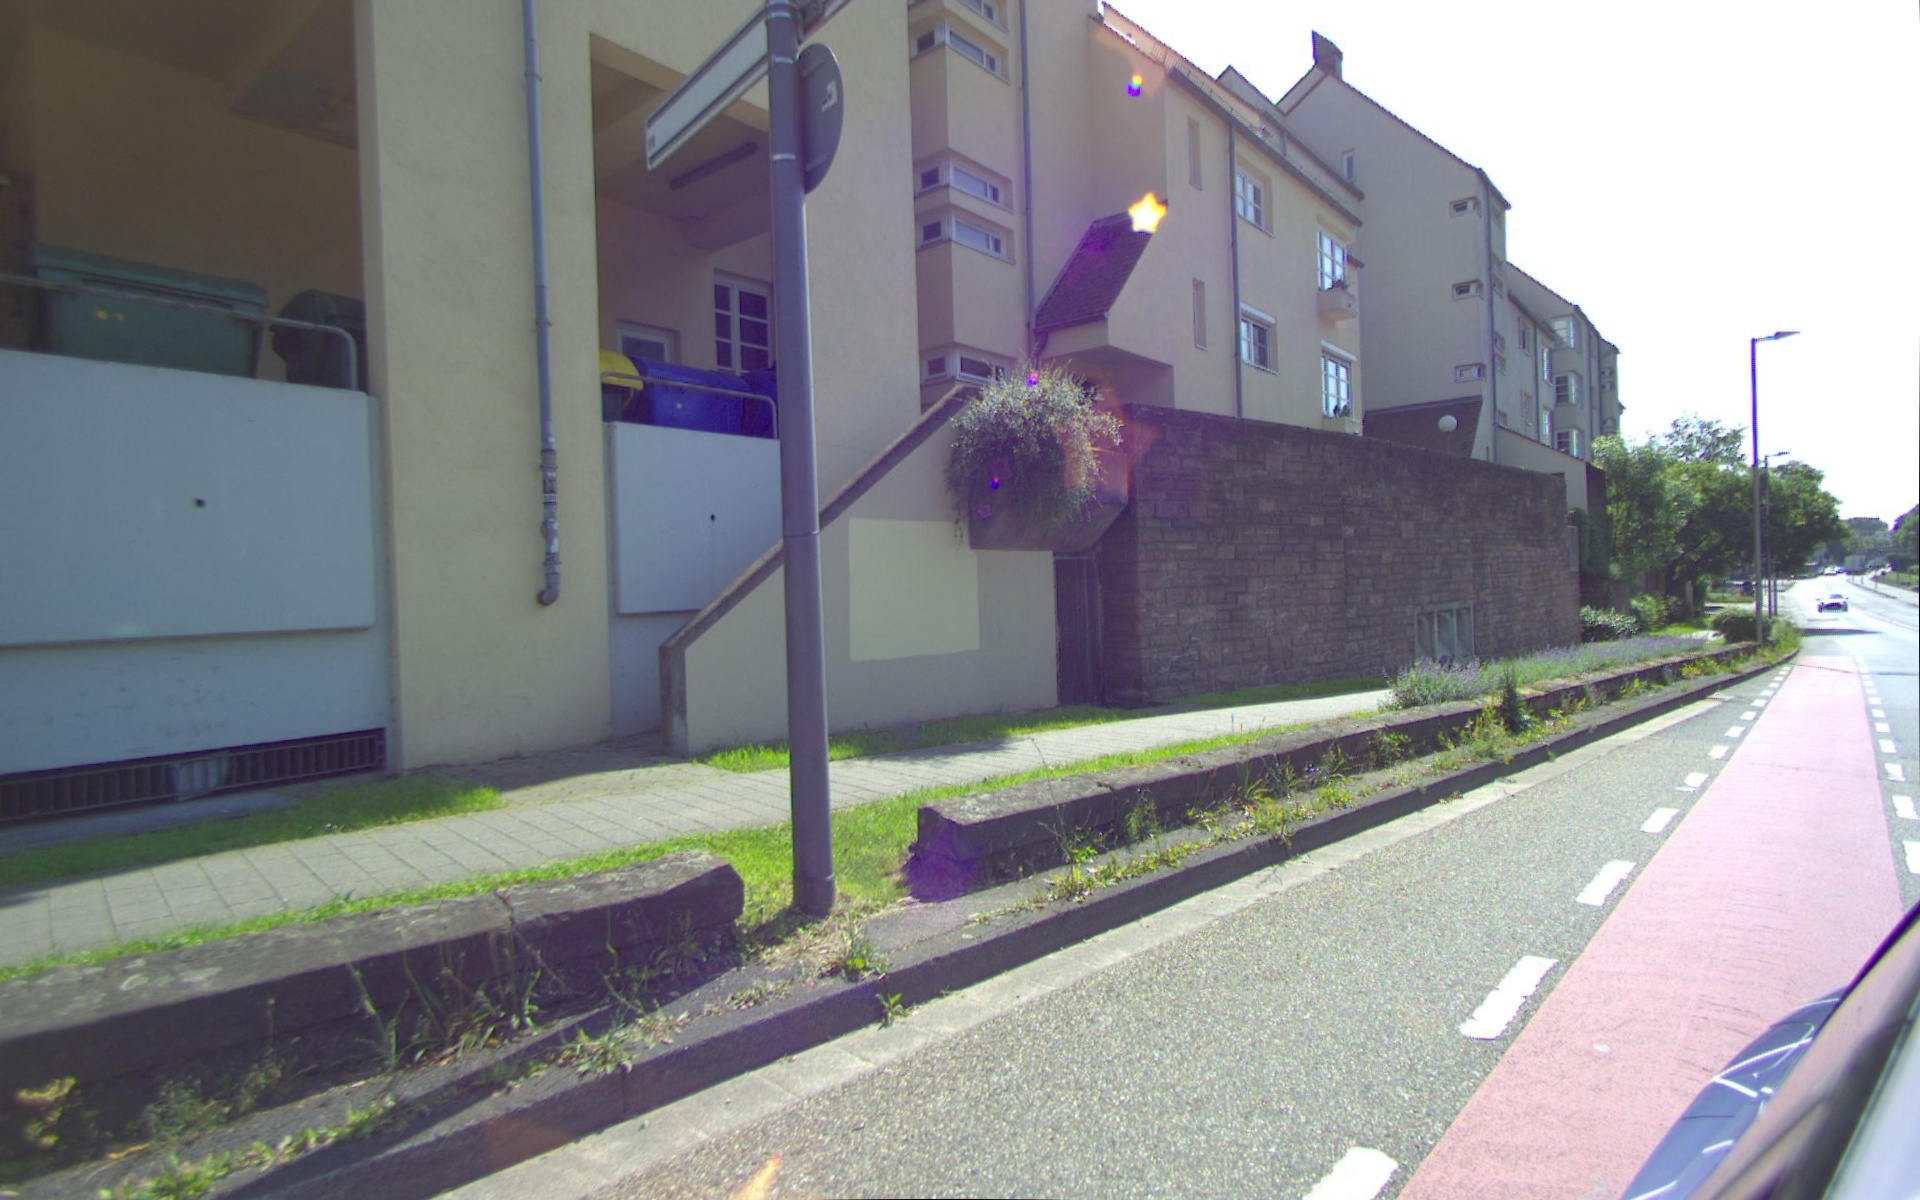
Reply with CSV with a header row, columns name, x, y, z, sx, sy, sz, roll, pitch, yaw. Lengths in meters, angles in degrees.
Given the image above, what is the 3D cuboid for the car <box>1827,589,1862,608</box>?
name,x,y,z,sx,sy,sz,roll,pitch,yaw
car,68.248,-0.123,78.088,1.992,1.460,3.940,0,1,42
